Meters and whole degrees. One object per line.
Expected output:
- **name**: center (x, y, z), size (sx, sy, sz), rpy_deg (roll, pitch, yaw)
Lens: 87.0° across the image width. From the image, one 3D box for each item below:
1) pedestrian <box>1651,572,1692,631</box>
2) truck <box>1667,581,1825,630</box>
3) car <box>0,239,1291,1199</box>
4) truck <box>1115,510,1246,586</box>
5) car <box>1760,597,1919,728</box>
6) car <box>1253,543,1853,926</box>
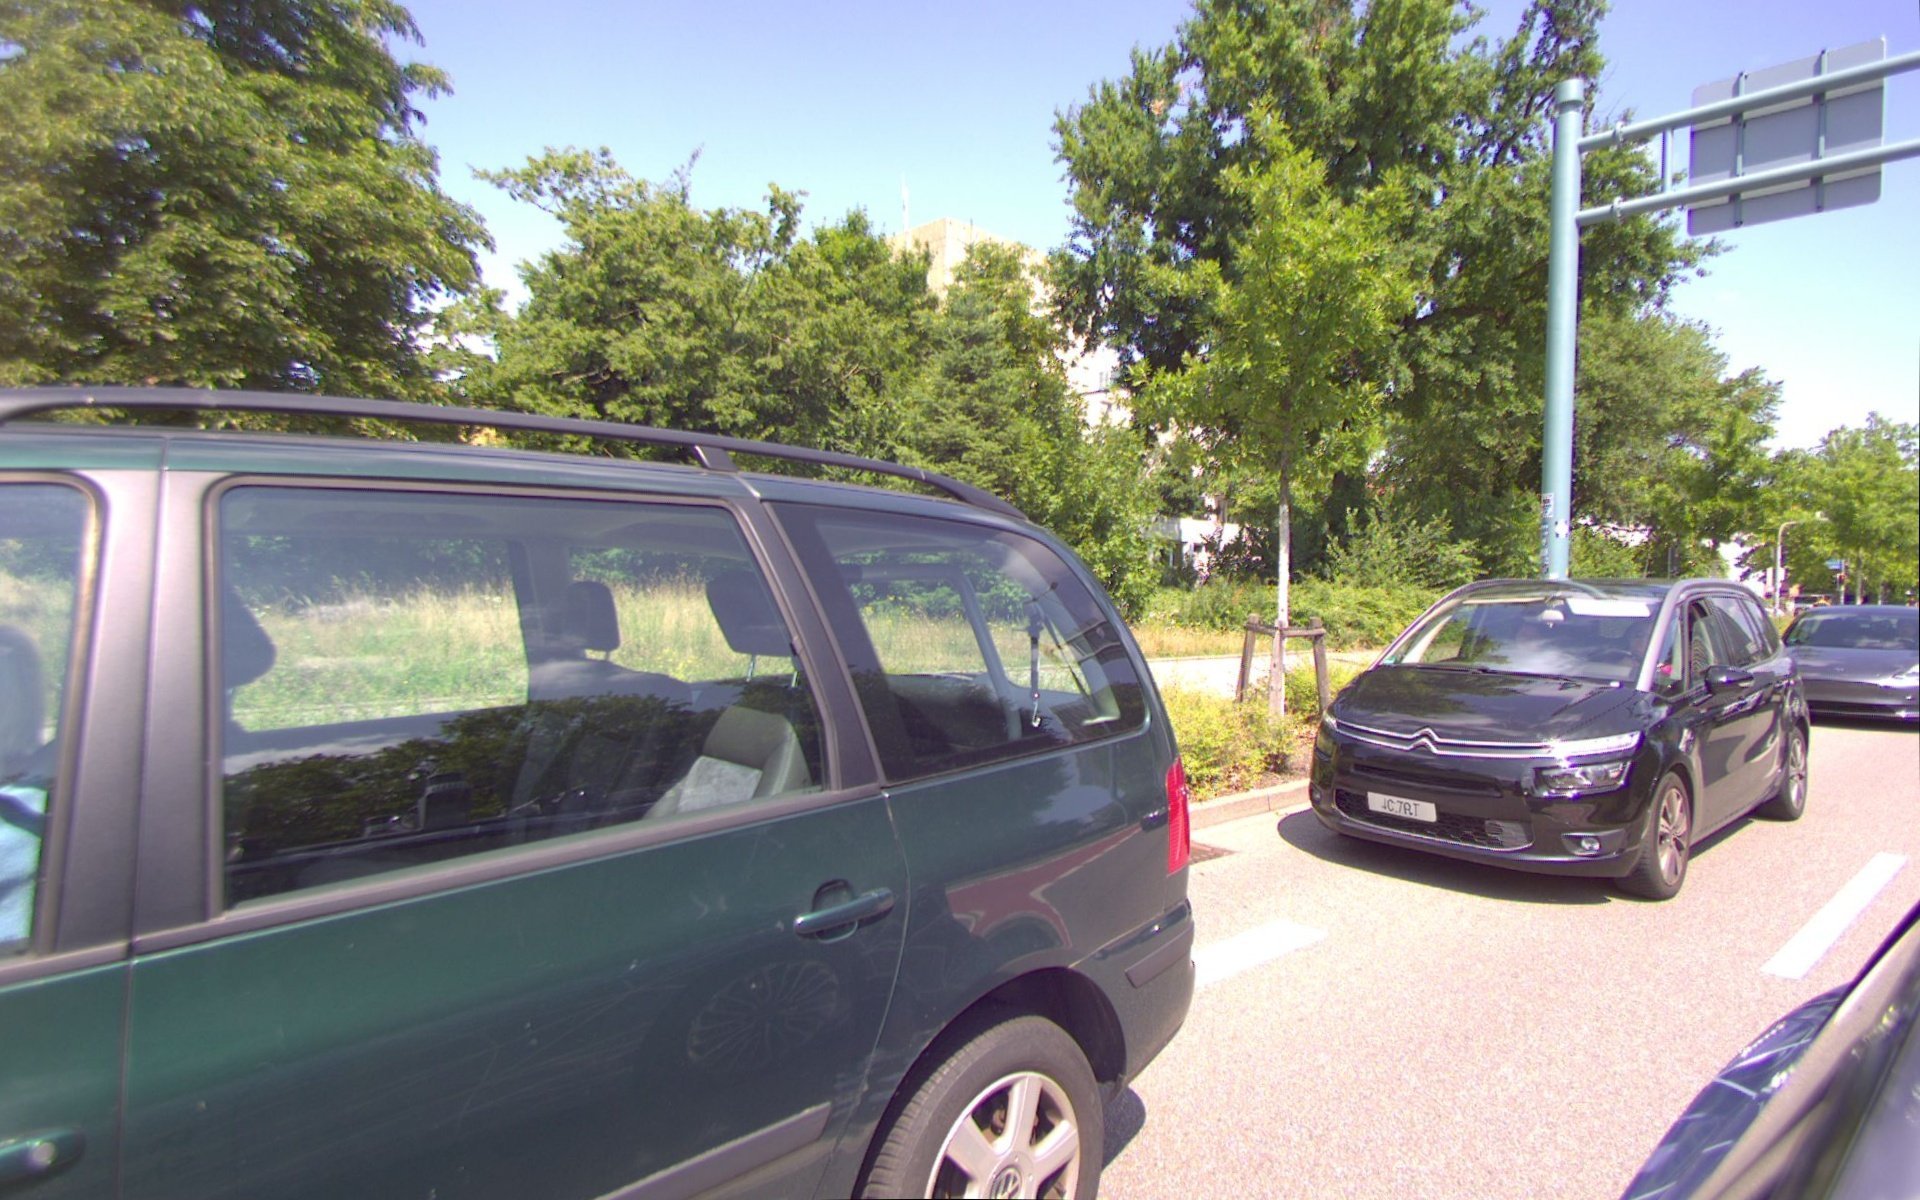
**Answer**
- **pedestrian**: center (21.897, 0.033, 31.134), size (0.827, 1.787, 0.844), rpy_deg (0, 0, -41)
- **truck**: center (39.462, 0.310, 50.975), size (2.416, 2.330, 5.815), rpy_deg (1, -1, -34)
- **car**: center (-1.440, 0.530, 1.711), size (4.369, 1.745, 1.797), rpy_deg (1, -1, -40)
- **truck**: center (9.647, -2.127, 43.697), size (7.009, 3.061, 2.093), rpy_deg (-1, 0, -45)
- **car**: center (11.816, 0.702, 12.917), size (4.287, 1.436, 1.764), rpy_deg (1, -1, -41)
- **car**: center (3.990, 0.599, 6.484), size (4.438, 1.643, 1.862), rpy_deg (1, -1, -39)
